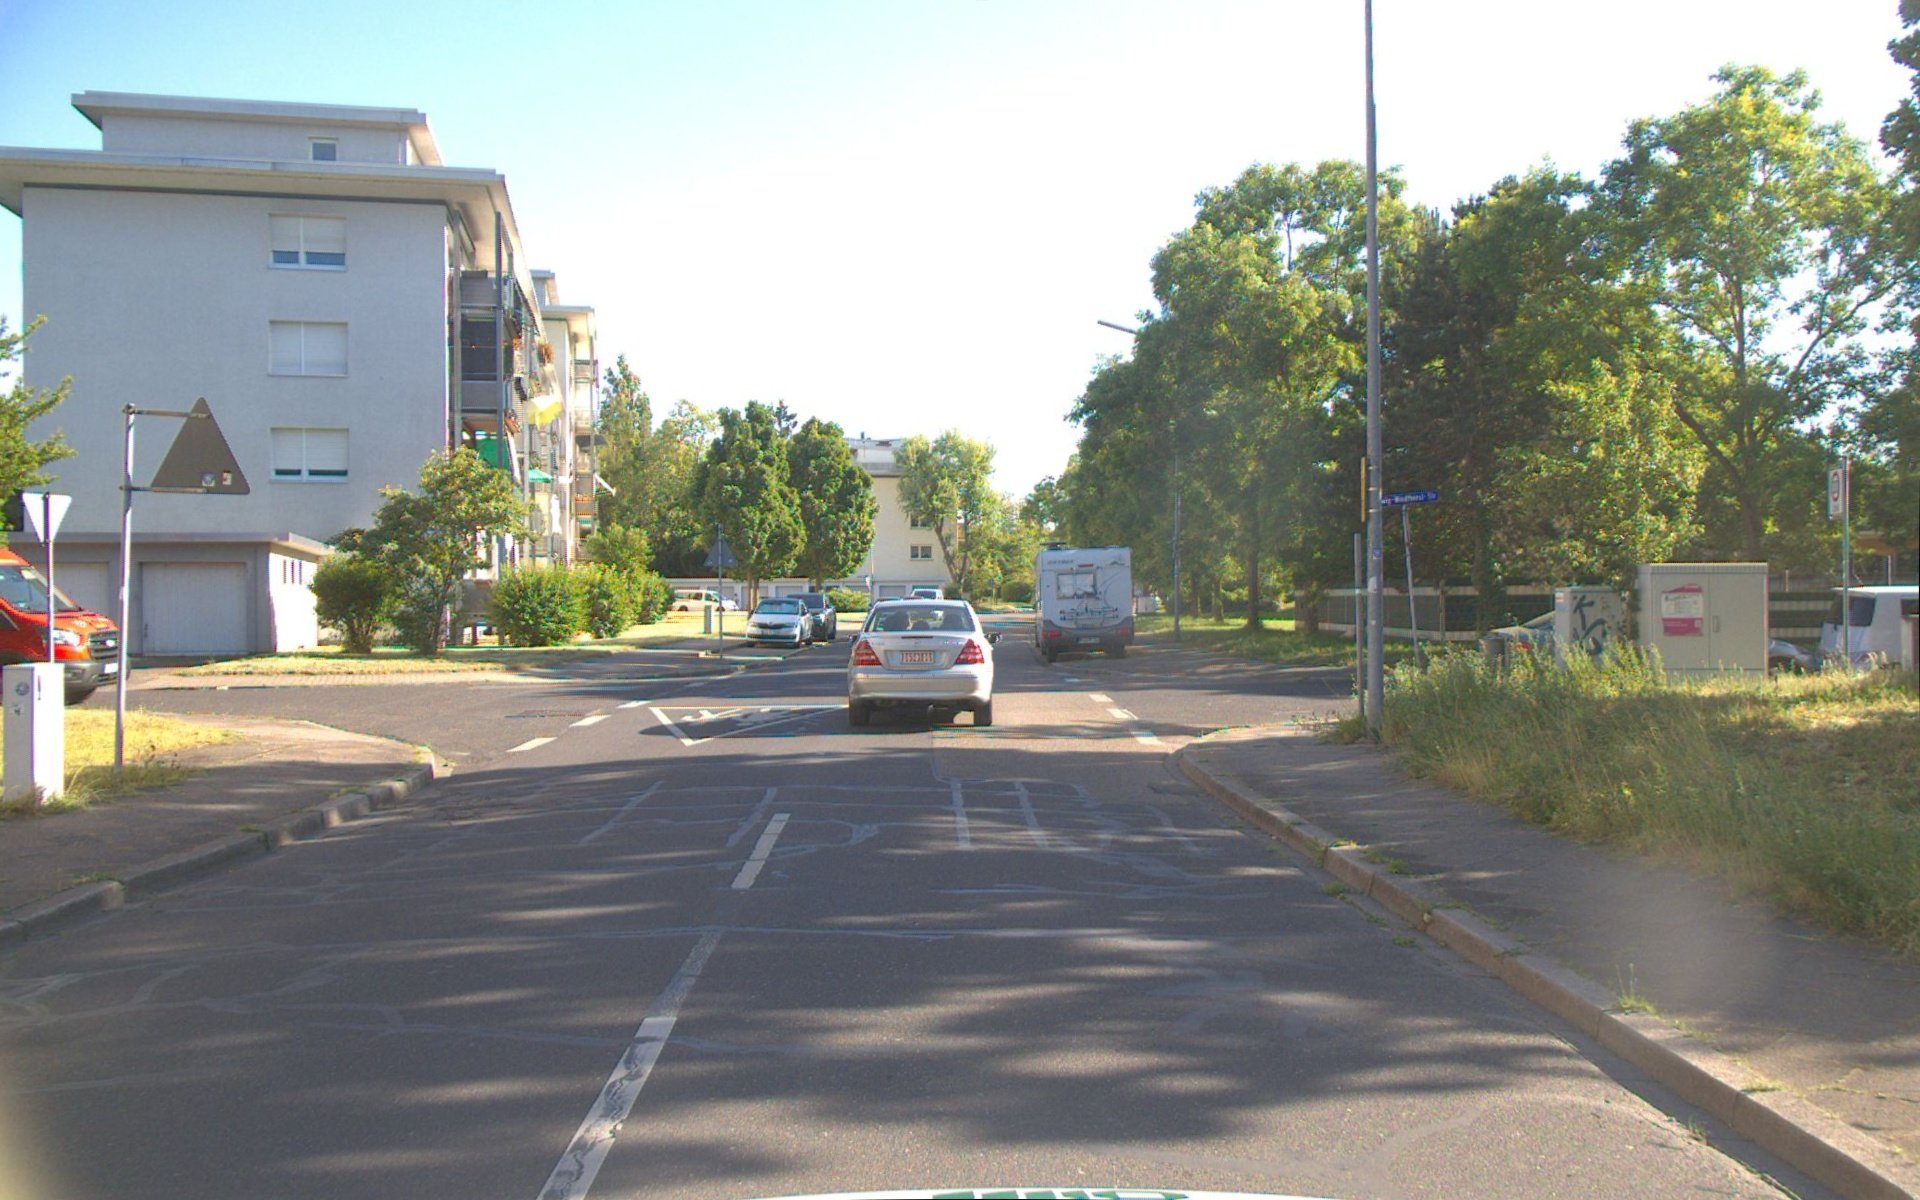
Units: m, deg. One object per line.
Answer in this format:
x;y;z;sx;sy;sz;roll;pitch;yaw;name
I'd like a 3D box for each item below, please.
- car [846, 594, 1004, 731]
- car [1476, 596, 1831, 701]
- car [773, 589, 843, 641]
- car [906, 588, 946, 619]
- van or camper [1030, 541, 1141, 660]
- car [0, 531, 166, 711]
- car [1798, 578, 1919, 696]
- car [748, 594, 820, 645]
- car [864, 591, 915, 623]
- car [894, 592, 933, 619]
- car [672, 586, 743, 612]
-0.371;0.676;19.668;1.697;1.459;3.438;-1;0;0;car
9.769;0.657;23.569;4.332;1.360;1.747;0;2;4;car
-5.231;0.480;57.490;1.875;1.632;4.812;2;0;0;car
-2.131;0.216;105.531;1.972;1.918;5.194;1;0;5;car
3.100;-0.004;42.140;2.303;2.641;6.426;-3;0;1;van or camper
-15.021;0.306;24.029;5.785;2.471;2.213;-1;2;-2;car
14.071;0.482;23.316;3.606;1.605;1.830;-1;0;7;car
-5.402;0.559;51.203;1.612;1.492;4.332;0;0;2;car
-3.628;0.326;86.257;1.992;1.519;5.259;2;0;4;car
-2.745;0.334;99.059;1.794;1.544;4.224;1;0;5;car
-19.705;-0.082;129.245;4.996;1.985;2.239;-1;0;12;car
